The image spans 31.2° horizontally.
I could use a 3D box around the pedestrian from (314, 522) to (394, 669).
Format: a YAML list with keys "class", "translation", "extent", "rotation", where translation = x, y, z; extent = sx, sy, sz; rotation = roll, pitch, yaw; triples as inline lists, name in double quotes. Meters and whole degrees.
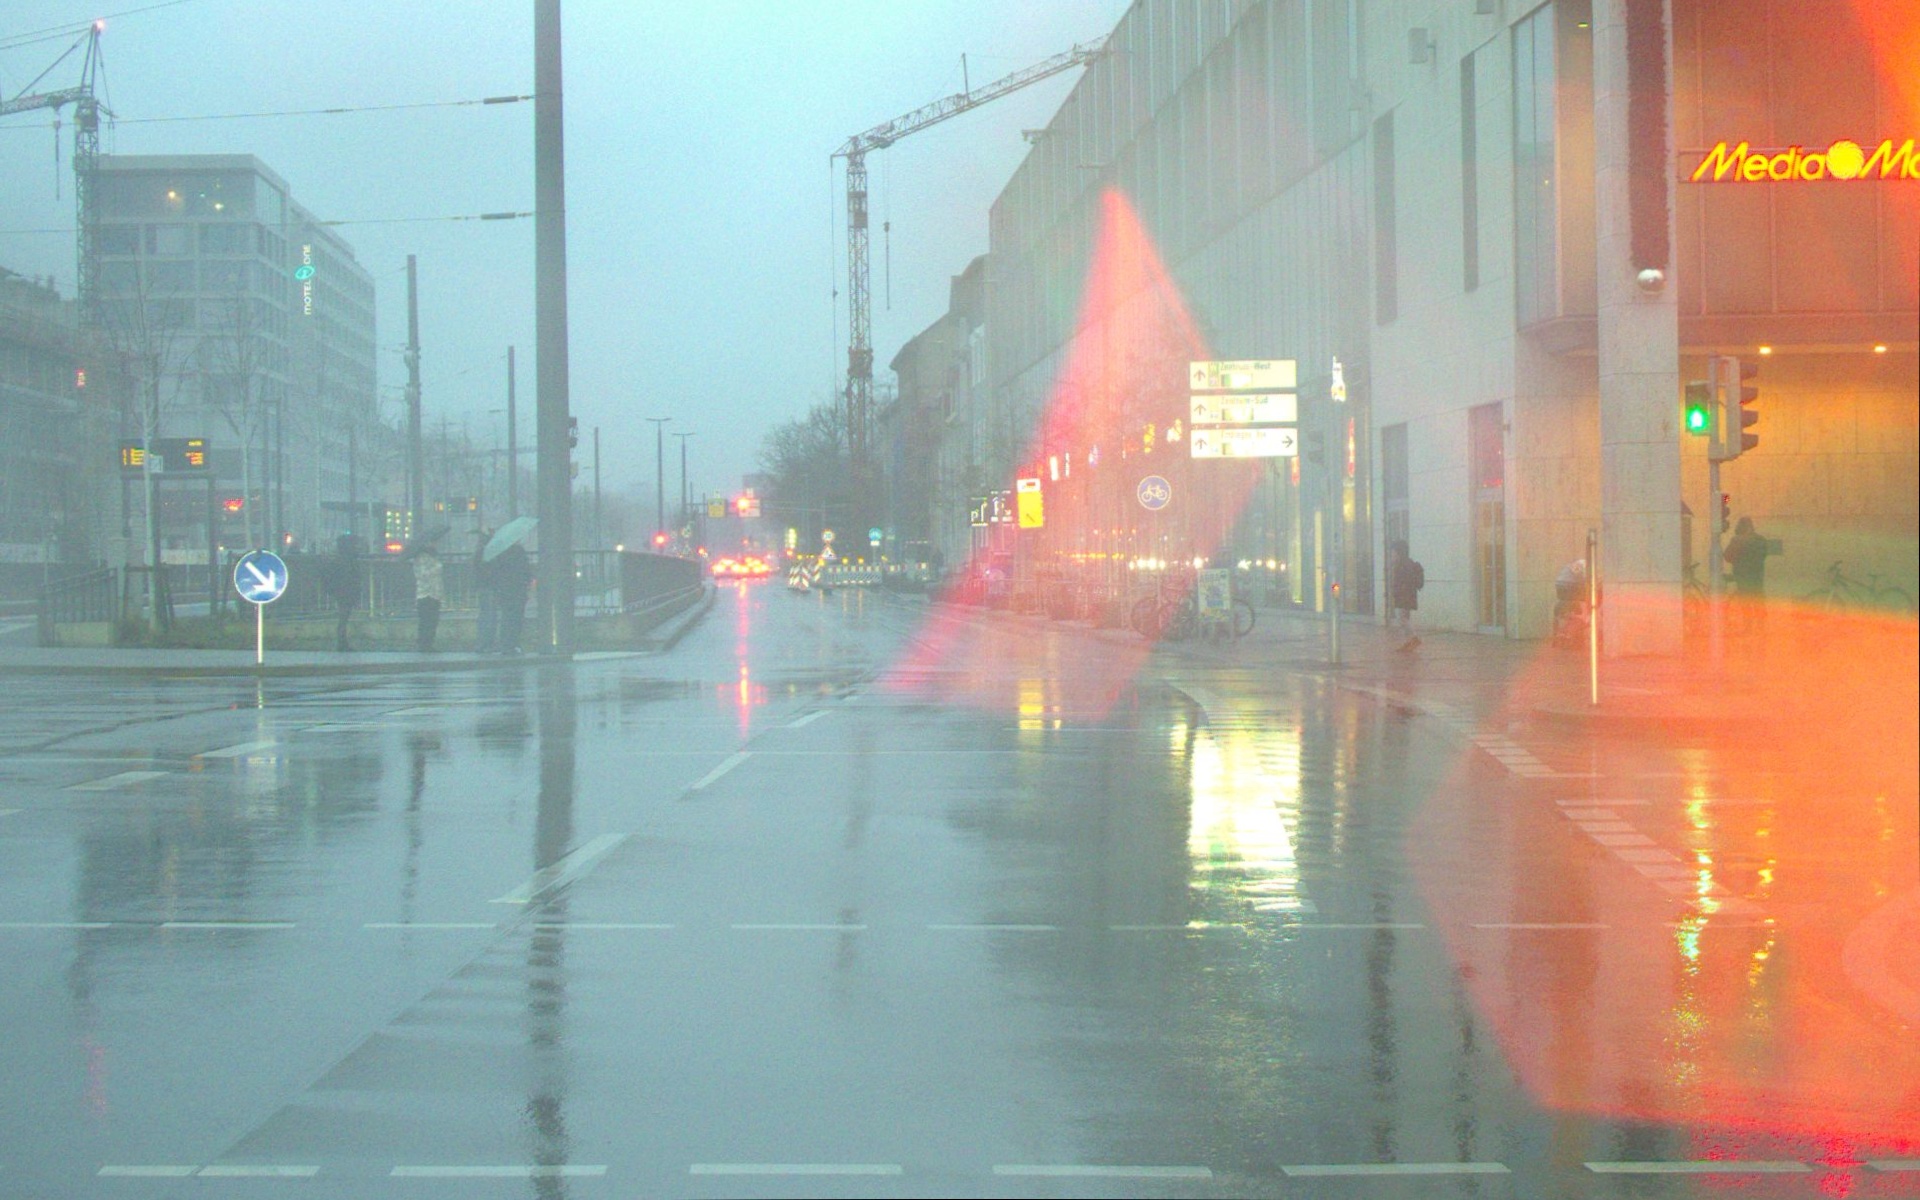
- class: "pedestrian"
  translation: [-8.333, -0.067, 47.291]
  extent: [0.785, 2.007, 0.726]
  rotation: [1, 1, 42]

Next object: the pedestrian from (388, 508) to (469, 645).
- class: "pedestrian"
  translation: [-7.186, -0.320, 46.482]
  extent: [0.821, 1.825, 0.786]
  rotation: [1, 0, -31]

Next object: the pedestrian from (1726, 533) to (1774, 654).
- class: "pedestrian"
  translation: [11.425, -0.095, 49.730]
  extent: [0.600, 1.739, 0.524]
  rotation: [1, 0, 8]

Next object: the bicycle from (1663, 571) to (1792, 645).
- class: "bicycle"
  translation: [11.300, 0.119, 50.650]
  extent: [1.767, 1.066, 0.525]
  rotation: [1, 0, -8]

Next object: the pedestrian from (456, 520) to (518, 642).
- class: "pedestrian"
  translation: [-6.594, -0.267, 47.961]
  extent: [0.612, 1.680, 0.577]
  rotation: [1, 0, 42]

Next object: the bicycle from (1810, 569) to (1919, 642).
- class: "bicycle"
  translation: [13.459, 0.080, 50.791]
  extent: [1.646, 1.066, 0.525]
  rotation: [1, 0, -4]

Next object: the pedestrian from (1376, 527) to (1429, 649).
- class: "pedestrian"
  translation: [6.298, -0.173, 48.931]
  extent: [0.636, 1.703, 0.573]
  rotation: [-1, 0, -1]
